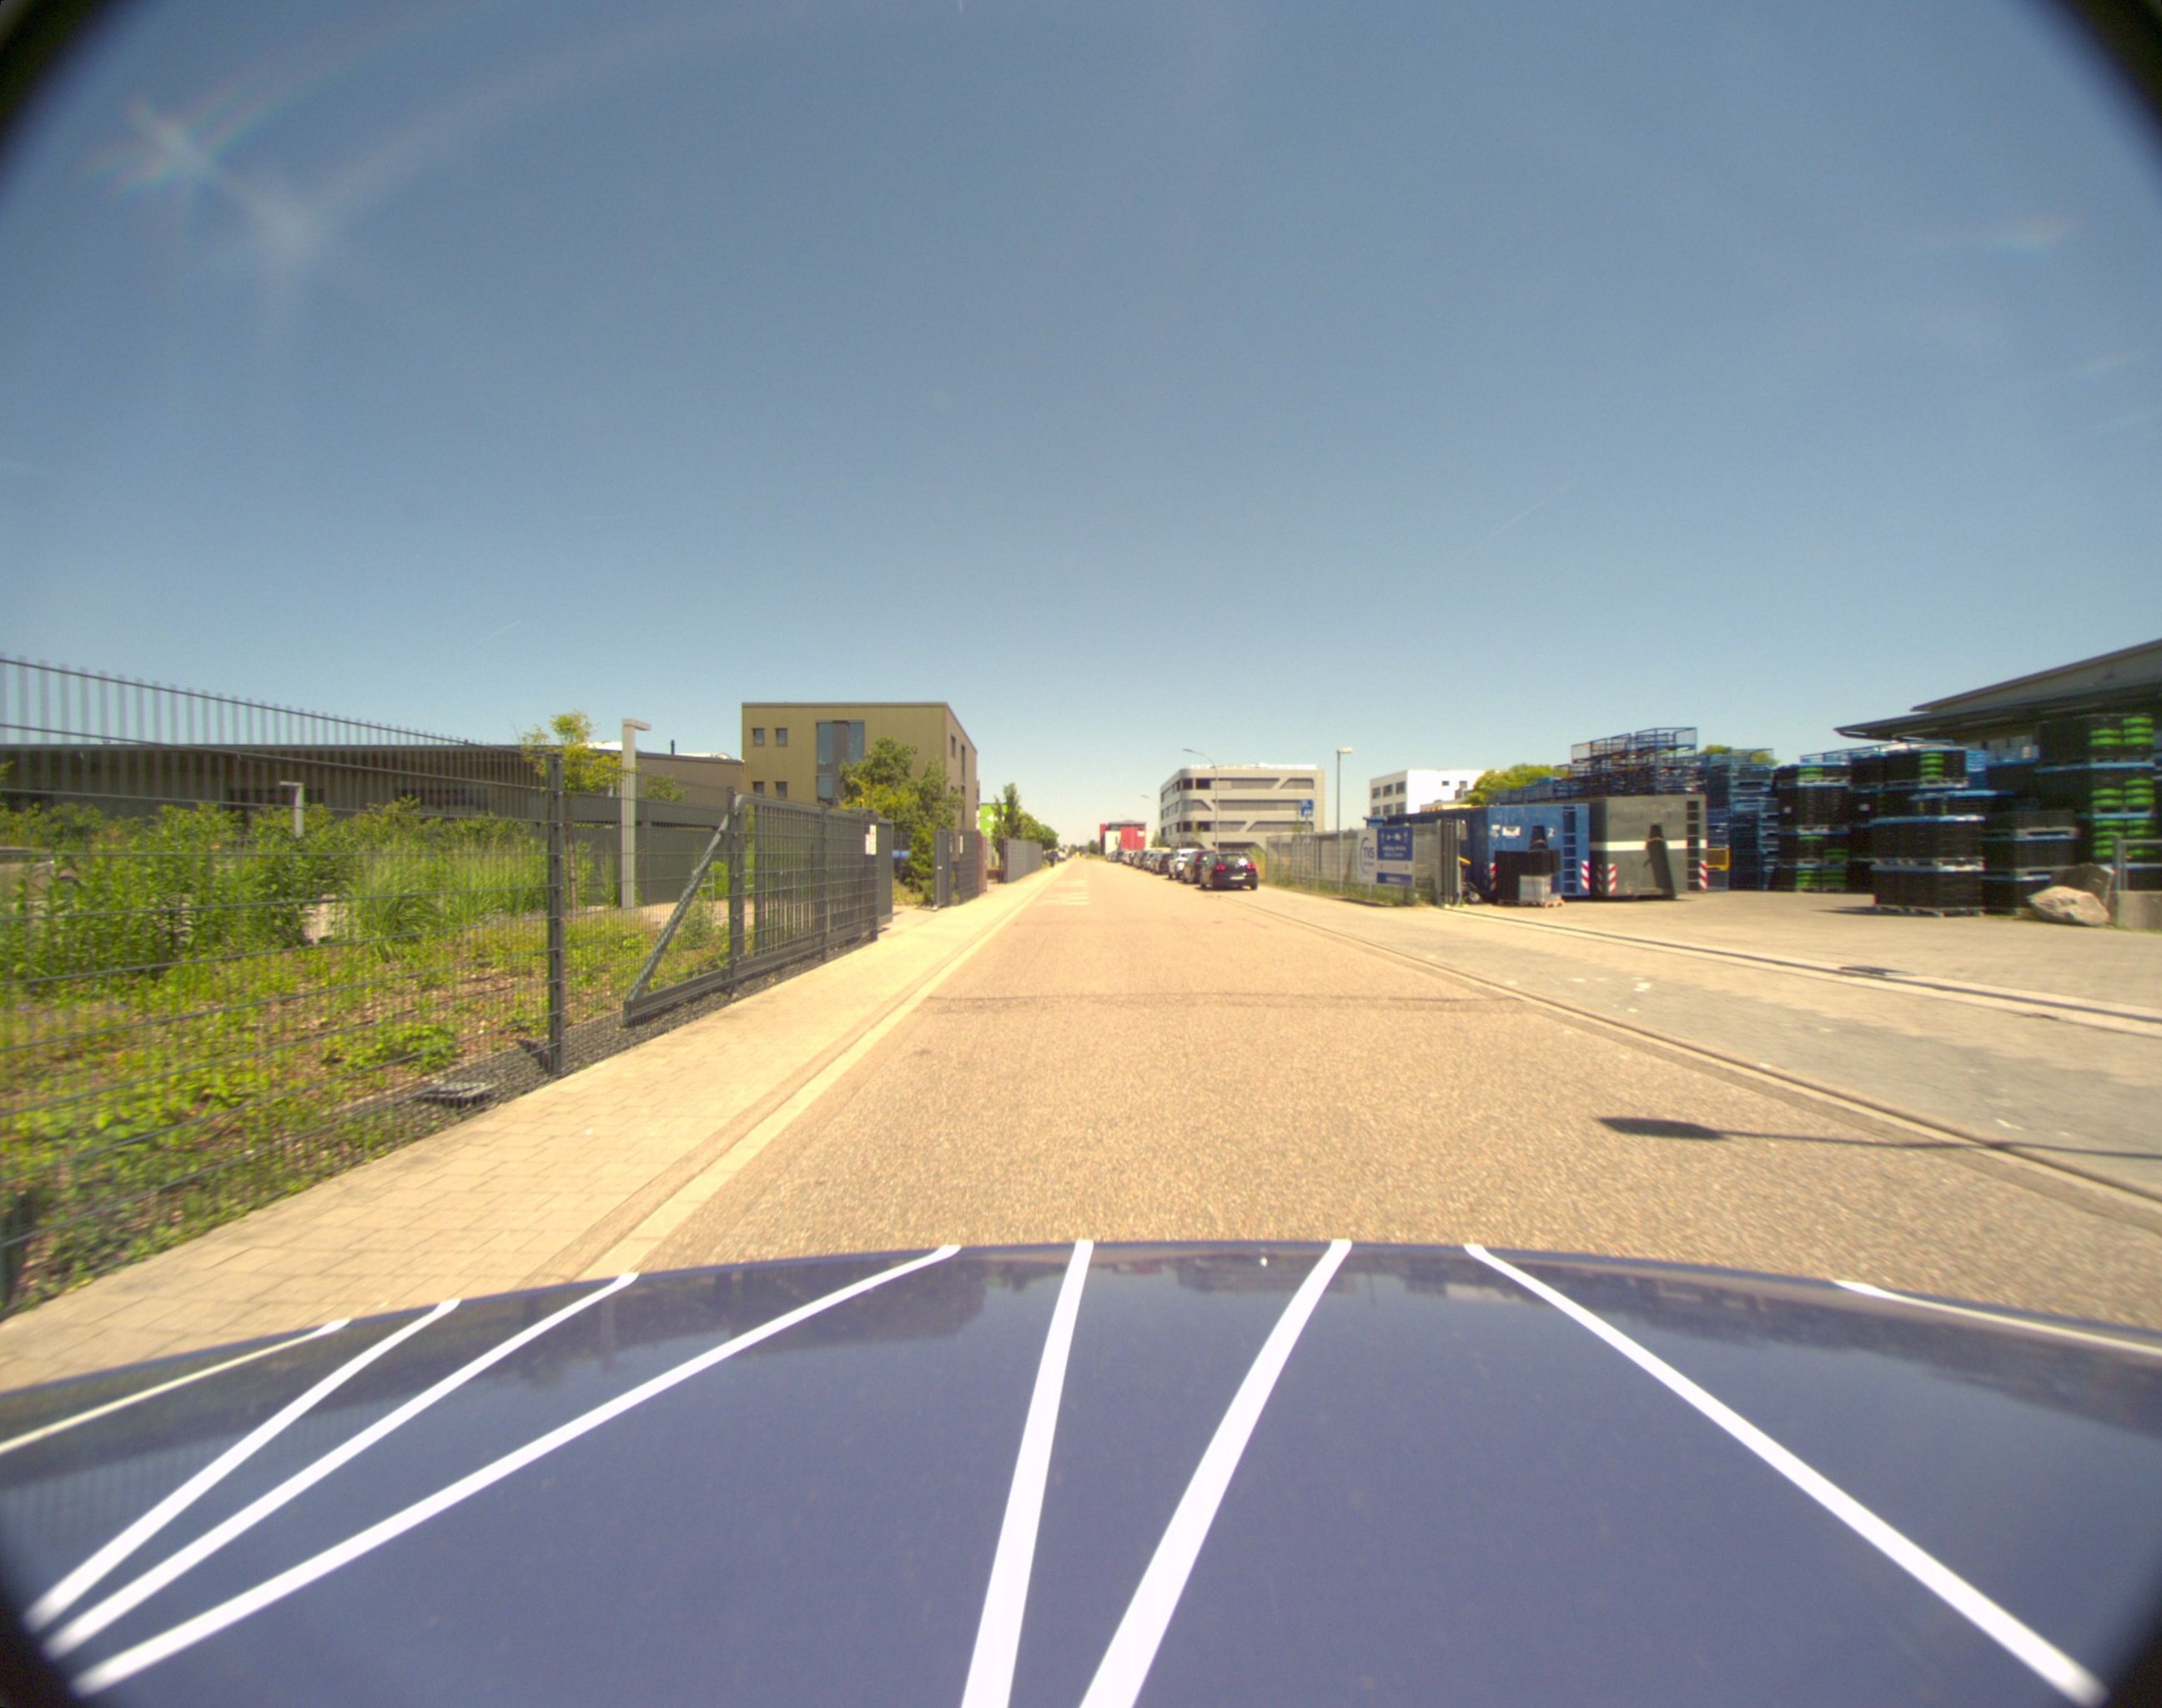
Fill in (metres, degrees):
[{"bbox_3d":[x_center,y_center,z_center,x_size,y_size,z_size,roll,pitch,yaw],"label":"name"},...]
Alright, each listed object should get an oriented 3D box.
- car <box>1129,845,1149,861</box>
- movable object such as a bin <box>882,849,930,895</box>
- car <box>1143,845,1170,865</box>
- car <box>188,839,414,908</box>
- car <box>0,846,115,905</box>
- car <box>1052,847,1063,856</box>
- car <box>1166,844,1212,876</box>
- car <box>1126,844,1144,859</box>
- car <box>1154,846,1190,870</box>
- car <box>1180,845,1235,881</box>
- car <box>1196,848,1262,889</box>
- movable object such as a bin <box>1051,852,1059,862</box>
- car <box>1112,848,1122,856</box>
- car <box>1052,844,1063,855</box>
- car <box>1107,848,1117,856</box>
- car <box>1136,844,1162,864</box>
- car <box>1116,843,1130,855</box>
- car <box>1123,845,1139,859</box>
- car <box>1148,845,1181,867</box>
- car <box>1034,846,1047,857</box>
[{"bbox_3d":[6.048,-0.134,79.607,1.767,1.508,4.379,-2,1,0],"label":"car"},{"bbox_3d":[-5.695,0.571,24.817,1.337,1.451,0.948,0,1,0],"label":"movable object such as a bin"},{"bbox_3d":[5.972,0.072,60.525,1.698,1.516,3.734,-1,1,-1],"label":"car"},{"bbox_3d":[-20.532,0.455,20.286,1.871,1.663,4.000,0,1,0],"label":"car"},{"bbox_3d":[-29.213,0.562,20.217,1.871,1.550,4.000,0,1,0],"label":"car"},{"bbox_3d":[-3.721,-0.347,120.948,1.696,1.419,4.246,-1,0,0],"label":"car"},{"bbox_3d":[5.788,0.289,41.278,1.773,1.583,4.359,-2,1,-1],"label":"car"},{"bbox_3d":[6.163,-0.261,87.483,1.791,1.647,3.768,-1,1,-1],"label":"car"},{"bbox_3d":[5.944,0.230,49.974,1.862,1.472,4.228,-1,1,0],"label":"car"},{"bbox_3d":[5.889,0.371,35.980,1.773,1.547,4.500,-2,1,-1],"label":"car"},{"bbox_3d":[5.810,0.504,30.256,1.773,1.453,4.332,-1,1,0],"label":"car"},{"bbox_3d":[-2.465,0.259,71.854,0.553,0.923,0.522,4,2,10],"label":"movable object such as a bin"},{"bbox_3d":[6.536,-0.378,139.984,1.688,1.378,4.639,-1,0,1],"label":"car"},{"bbox_3d":[-4.829,-0.859,156.831,1.999,2.001,5.801,0,-2,-1],"label":"car"},{"bbox_3d":[6.070,-0.368,148.477,1.704,1.378,3.937,-1,0,-2],"label":"car"},{"bbox_3d":[5.900,-0.030,66.034,1.795,1.598,4.462,-1,1,-1],"label":"car"},{"bbox_3d":[6.212,-0.692,112.385,1.807,1.709,4.622,-2,0,0],"label":"car"},{"bbox_3d":[6.088,-0.256,92.528,1.791,1.533,4.364,-1,1,2],"label":"car"},{"bbox_3d":[6.059,0.134,55.397,1.779,1.472,4.814,-1,1,-1],"label":"car"},{"bbox_3d":[-6.431,-0.394,121.268,1.727,1.623,4.022,-1,0,0],"label":"car"}]
